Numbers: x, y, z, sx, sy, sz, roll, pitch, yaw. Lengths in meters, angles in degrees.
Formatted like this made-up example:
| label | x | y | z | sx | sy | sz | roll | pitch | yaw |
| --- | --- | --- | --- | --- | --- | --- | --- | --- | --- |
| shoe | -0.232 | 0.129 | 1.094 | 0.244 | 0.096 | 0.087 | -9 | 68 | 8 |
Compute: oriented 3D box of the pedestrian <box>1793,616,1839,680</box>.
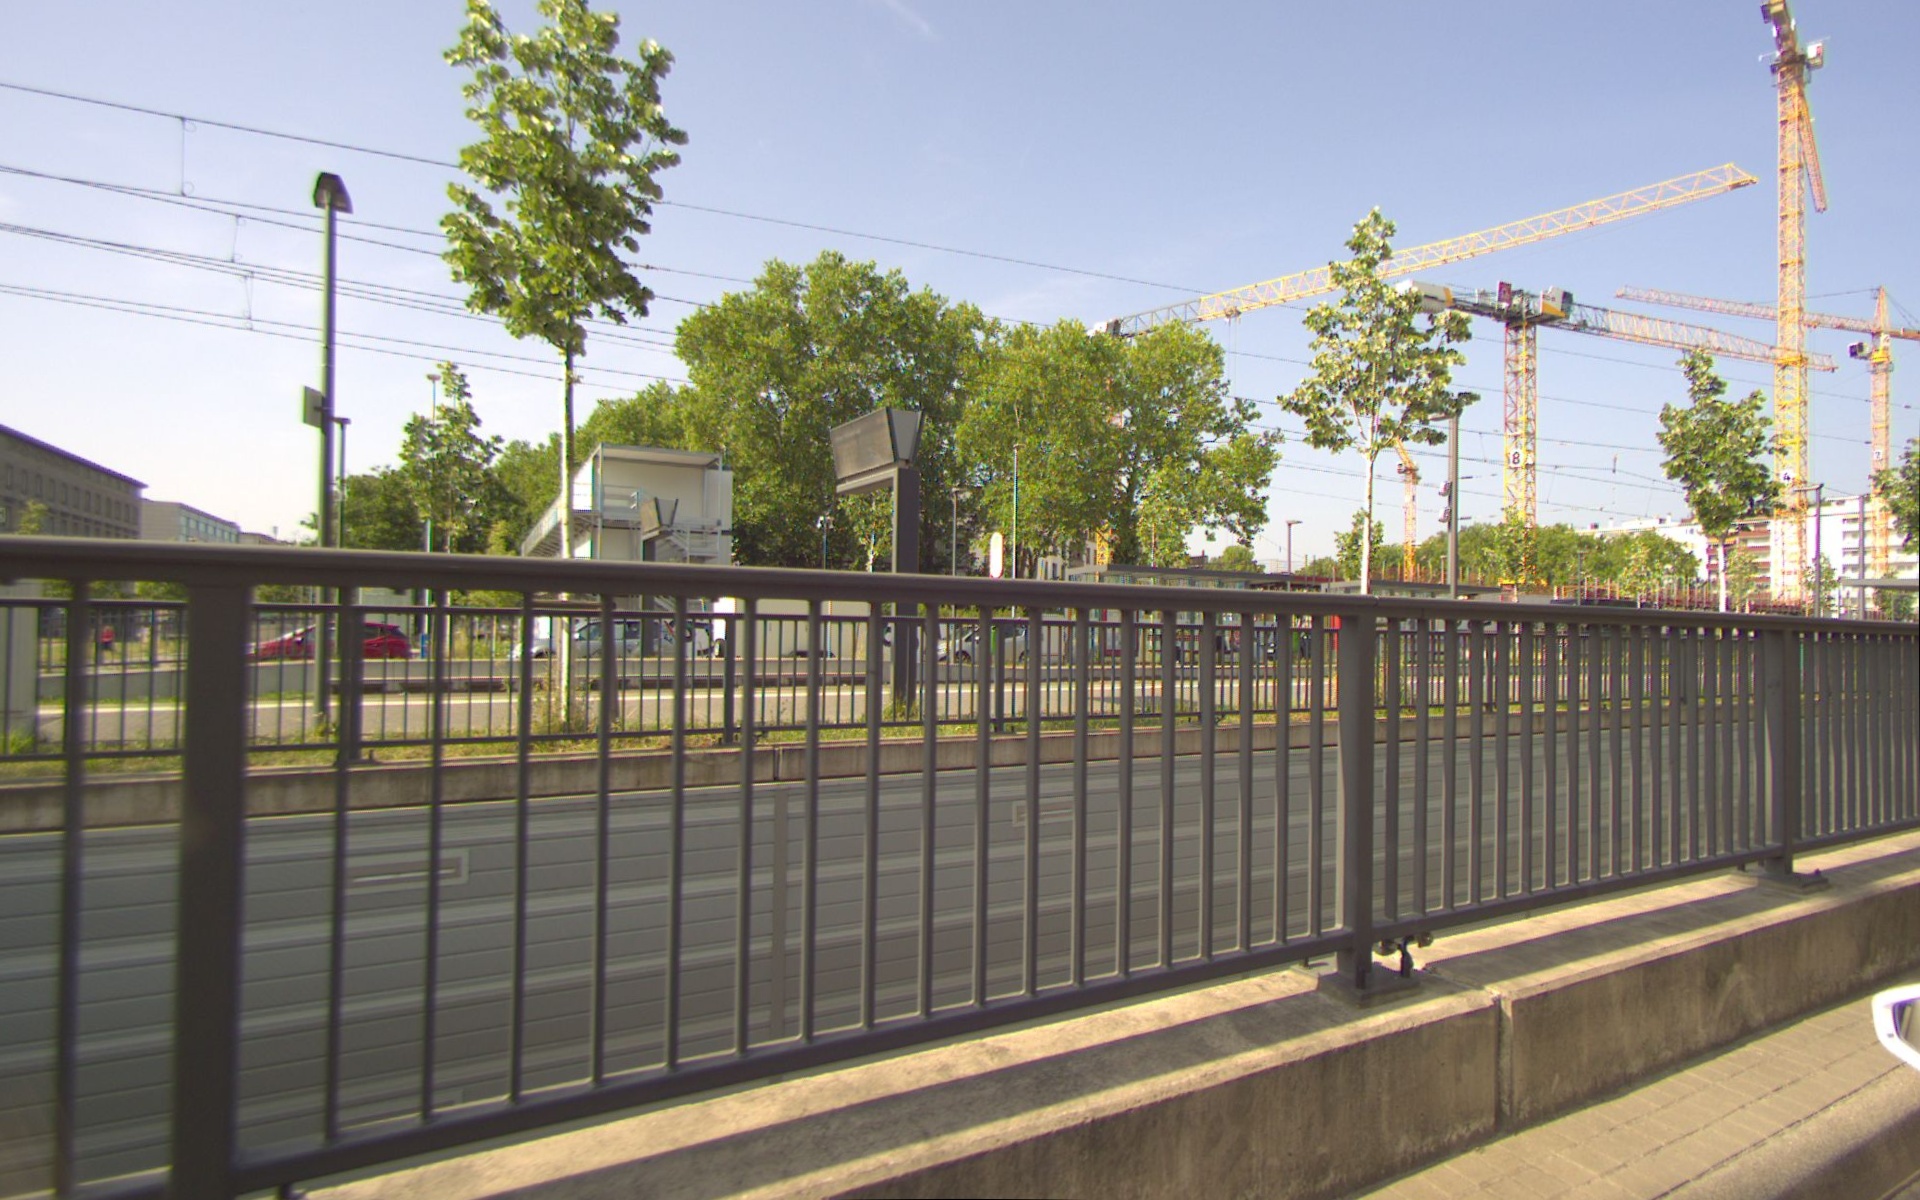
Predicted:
| label | x | y | z | sx | sy | sz | roll | pitch | yaw |
| --- | --- | --- | --- | --- | --- | --- | --- | --- | --- |
| pedestrian | 22.364 | 1.249 | 26.256 | 0.702 | 1.640 | 0.732 | 2 | -1 | -30 |

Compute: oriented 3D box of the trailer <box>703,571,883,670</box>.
| label | x | y | z | sx | sy | sz | roll | pitch | yaw |
| --- | --- | --- | --- | --- | --- | --- | --- | --- | --- |
| trailer | -5.063 | 0.652 | 30.655 | 4.964 | 2.818 | 2.034 | 2 | 0 | -31 |

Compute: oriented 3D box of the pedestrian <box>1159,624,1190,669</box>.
| label | x | y | z | sx | sy | sz | roll | pitch | yaw |
| --- | --- | --- | --- | --- | --- | --- | --- | --- | --- |
| pedestrian | 6.280 | 1.351 | 29.444 | 0.586 | 1.317 | 0.676 | 1 | -1 | -33 |

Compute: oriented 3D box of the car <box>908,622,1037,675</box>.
| label | x | y | z | sx | sy | sz | roll | pitch | yaw |
| --- | --- | --- | --- | --- | --- | --- | --- | --- | --- |
| car | 0.441 | 1.647 | 34.096 | 4.101 | 1.684 | 1.713 | 2 | -1 | -30 |

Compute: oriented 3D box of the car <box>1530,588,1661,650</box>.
| label | x | y | z | sx | sy | sz | roll | pitch | yaw |
| --- | --- | --- | --- | --- | --- | --- | --- | --- | --- |
| car | 39.374 | 1.226 | 62.155 | 9.127 | 3.559 | 3.039 | 2 | -1 | -31 |

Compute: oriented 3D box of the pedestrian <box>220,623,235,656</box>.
| label | x | y | z | sx | sy | sz | roll | pitch | yaw |
| --- | --- | --- | --- | --- | --- | --- | --- | --- | --- |
| pedestrian | -38.030 | 2.050 | 52.153 | 0.534 | 1.731 | 0.589 | 1 | -1 | -31 |

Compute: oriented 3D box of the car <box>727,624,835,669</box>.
| label | x | y | z | sx | sy | sz | roll | pitch | yaw |
| --- | --- | --- | --- | --- | --- | --- | --- | --- | --- |
| car | -6.251 | 1.613 | 35.092 | 3.393 | 1.483 | 1.589 | 2 | -2 | -30 |

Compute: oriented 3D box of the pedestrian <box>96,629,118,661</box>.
| label | x | y | z | sx | sy | sz | roll | pitch | yaw |
| --- | --- | --- | --- | --- | --- | --- | --- | --- | --- |
| pedestrian | -33.208 | 1.746 | 39.115 | 0.531 | 1.233 | 0.441 | 2 | 0 | -28 |

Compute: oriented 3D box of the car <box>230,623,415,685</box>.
| label | x | y | z | sx | sy | sz | roll | pitch | yaw |
| --- | --- | --- | --- | --- | --- | --- | --- | --- | --- |
| car | -15.426 | 1.283 | 24.424 | 3.660 | 1.379 | 1.710 | 2 | -1 | -34 |

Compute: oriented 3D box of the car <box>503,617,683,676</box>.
| label | x | y | z | sx | sy | sz | roll | pitch | yaw |
| --- | --- | --- | --- | --- | --- | --- | --- | --- | --- |
| car | -9.926 | 1.247 | 27.270 | 4.353 | 1.489 | 1.634 | 1 | -1 | -32 |

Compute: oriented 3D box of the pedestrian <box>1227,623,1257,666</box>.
| label | x | y | z | sx | sy | sz | roll | pitch | yaw |
| --- | --- | --- | --- | --- | --- | --- | --- | --- | --- |
| pedestrian | 8.734 | 1.358 | 31.080 | 0.586 | 1.317 | 0.676 | 1 | -1 | -33 |

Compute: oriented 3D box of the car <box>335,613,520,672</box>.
| label | x | y | z | sx | sy | sz | roll | pitch | yaw |
| --- | --- | --- | --- | --- | --- | --- | --- | --- | --- |
| car | -15.426 | 1.234 | 29.189 | 4.569 | 1.602 | 1.781 | 2 | -2 | -35 |
